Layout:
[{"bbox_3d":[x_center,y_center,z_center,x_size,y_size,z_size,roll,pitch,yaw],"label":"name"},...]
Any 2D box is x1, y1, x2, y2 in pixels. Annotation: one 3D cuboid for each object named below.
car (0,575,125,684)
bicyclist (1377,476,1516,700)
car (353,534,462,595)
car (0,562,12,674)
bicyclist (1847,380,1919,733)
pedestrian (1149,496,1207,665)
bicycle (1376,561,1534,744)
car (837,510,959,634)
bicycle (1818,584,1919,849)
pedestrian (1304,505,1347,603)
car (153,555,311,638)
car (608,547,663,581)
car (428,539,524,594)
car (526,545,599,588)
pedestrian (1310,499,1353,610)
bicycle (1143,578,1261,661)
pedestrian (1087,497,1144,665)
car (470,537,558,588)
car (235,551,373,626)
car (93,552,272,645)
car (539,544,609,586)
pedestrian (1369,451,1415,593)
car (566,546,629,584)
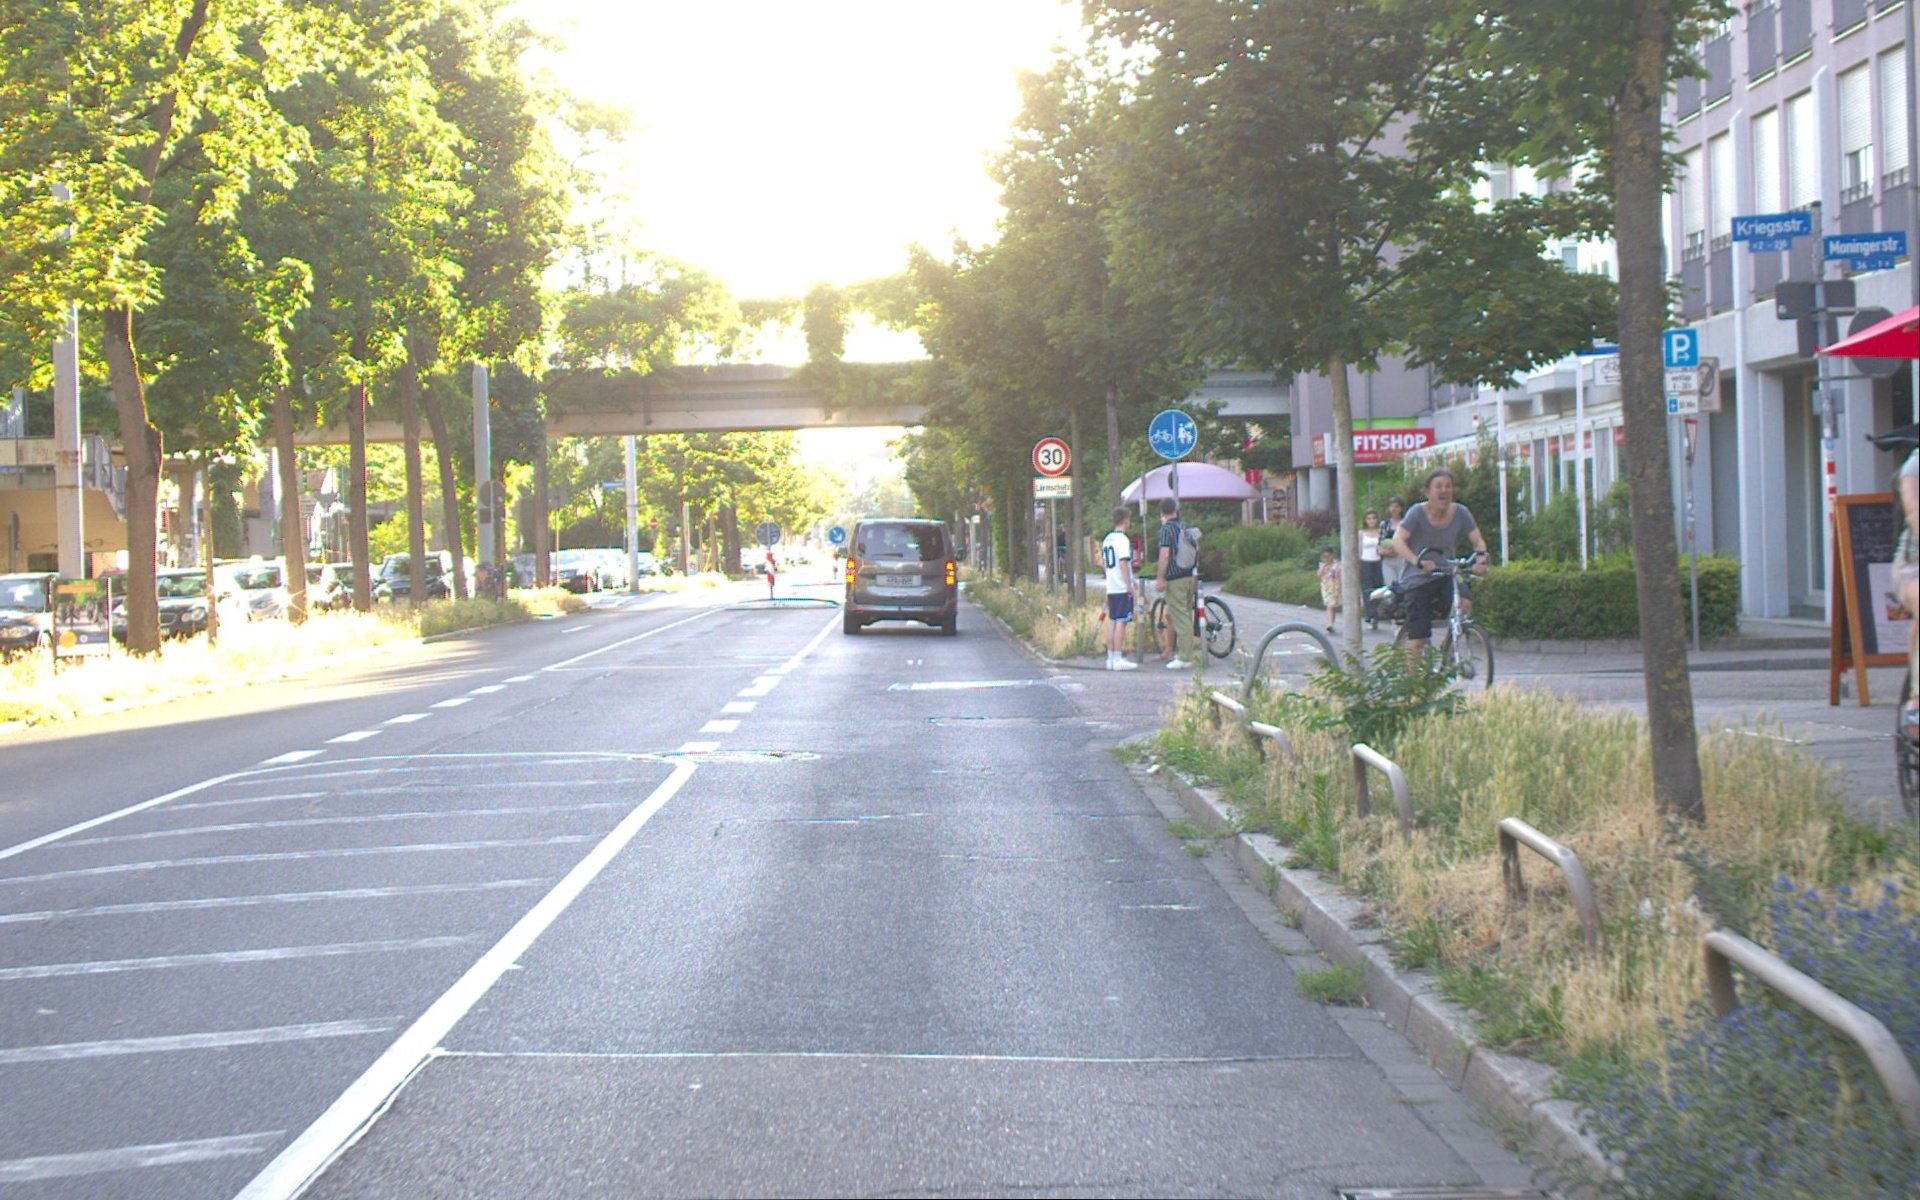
[{"bbox_3d":[-12.307,0.355,45.325,1.671,1.309,3.965,0,1,-1],"label":"car"},{"bbox_3d":[3.446,-0.094,24.416,0.751,1.552,0.938,0,1,-8],"label":"bicyclist"},{"bbox_3d":[-13.258,-0.880,82.715,1.993,1.409,4.237,0,1,-1],"label":"car"},{"bbox_3d":[-12.189,0.248,38.612,1.993,1.305,4.066,0,1,-1],"label":"car"},{"bbox_3d":[3.633,-0.161,12.346,0.585,1.232,1.112,0,1,-1],"label":"bicyclist"},{"bbox_3d":[2.443,-0.220,38.563,0.504,1.882,0.545,0,1,-15],"label":"pedestrian"},{"bbox_3d":[3.492,0.345,24.421,0.546,1.222,1.988,0,1,-9],"label":"bicycle"},{"bbox_3d":[-1.000,-0.501,57.407,1.887,1.918,3.839,-2,2,0],"label":"car"},{"bbox_3d":[3.621,0.410,12.320,0.579,0.894,1.987,0,1,0],"label":"bicycle"},{"bbox_3d":[6.782,-0.858,63.821,0.715,1.811,0.615,0,1,-1],"label":"pedestrian"},{"bbox_3d":[-13.068,-0.092,61.959,1.993,1.409,4.237,0,1,-1],"label":"car"},{"bbox_3d":[-13.997,-1.570,148.434,1.993,1.409,4.237,0,1,-1],"label":"car"},{"bbox_3d":[-12.808,-0.901,91.217,1.993,1.409,4.237,0,1,-1],"label":"car"},{"bbox_3d":[-13.310,-1.138,115.288,1.993,1.409,4.237,0,1,-1],"label":"car"},{"bbox_3d":[6.814,-0.836,63.141,0.715,2.034,0.615,0,1,-1],"label":"pedestrian"},{"bbox_3d":[2.764,0.211,39.434,0.588,0.894,1.988,-1,1,-20],"label":"bicycle"},{"bbox_3d":[1.765,-0.222,39.030,0.504,1.882,0.545,0,1,-15],"label":"pedestrian"},{"bbox_3d":[-12.671,-1.080,97.901,1.993,1.409,4.237,0,1,-1],"label":"car"},{"bbox_3d":[-13.080,-0.248,68.772,1.993,1.409,4.237,0,1,-1],"label":"car"},{"bbox_3d":[-12.645,-0.050,56.145,1.993,1.409,4.237,0,1,-1],"label":"car"},{"bbox_3d":[-13.438,-1.241,119.859,1.993,1.409,4.237,0,1,-1],"label":"car"},{"bbox_3d":[7.755,-1.403,61.690,0.715,2.530,0.824,0,1,-1],"label":"pedestrian"},{"bbox_3d":[-13.736,-1.339,130.496,1.993,1.409,4.237,0,1,-1],"label":"car"}]
